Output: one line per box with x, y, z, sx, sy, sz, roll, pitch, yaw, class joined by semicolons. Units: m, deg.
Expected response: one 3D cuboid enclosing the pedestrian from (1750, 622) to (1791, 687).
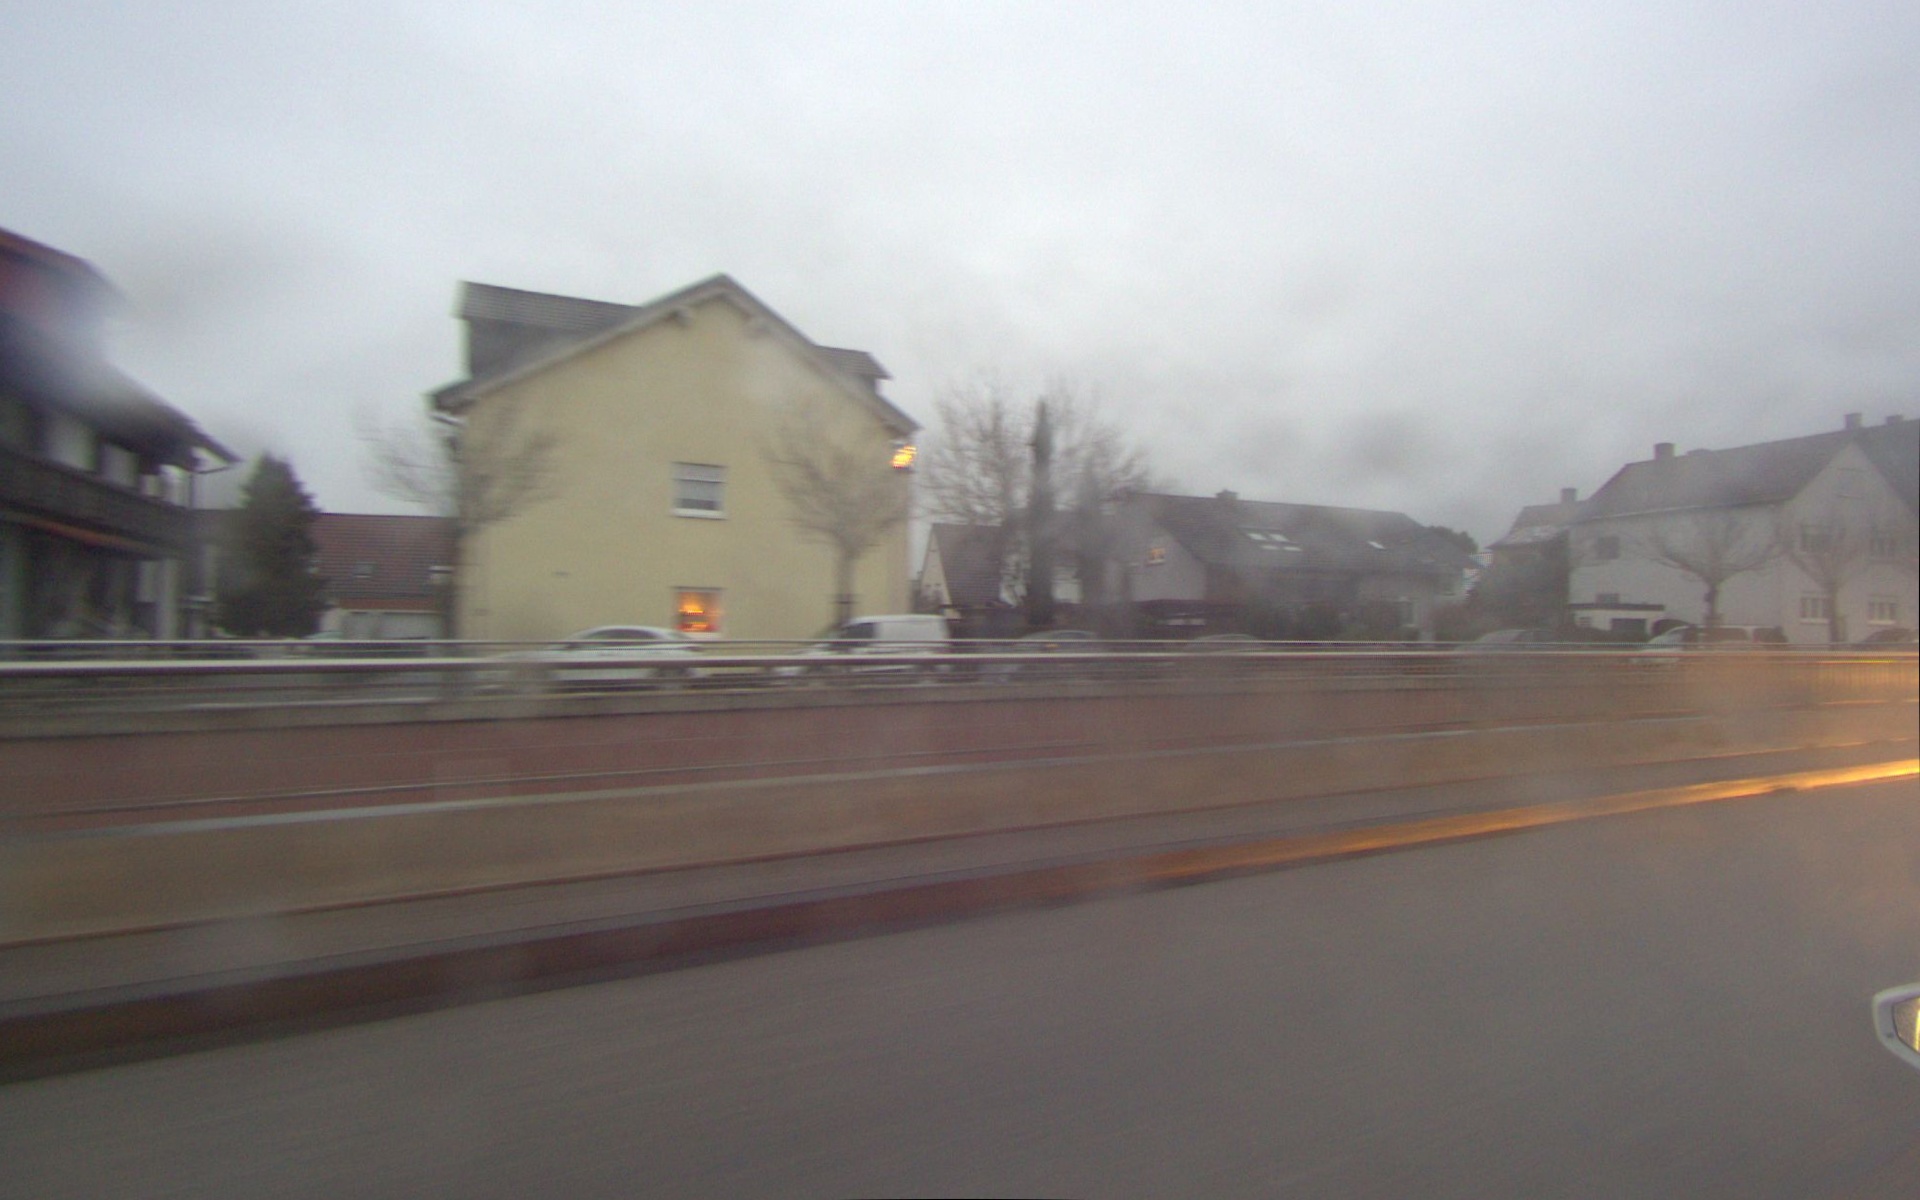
21.762;1.450;26.977;0.533;1.720;0.662;1;0;-19;pedestrian

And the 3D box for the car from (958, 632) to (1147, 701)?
2.352;1.635;25.364;4.442;1.593;1.868;0;-3;-26;car

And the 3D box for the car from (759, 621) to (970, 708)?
-2.155;1.419;22.937;4.445;1.802;1.867;0;-3;-28;car

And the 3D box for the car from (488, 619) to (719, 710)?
-7.201;1.247;20.332;4.172;1.619;1.867;0;-3;-28;car

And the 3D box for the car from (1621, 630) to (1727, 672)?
25.228;1.793;35.500;3.409;1.446;1.480;1;-1;-22;car

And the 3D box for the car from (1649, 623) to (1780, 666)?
31.477;1.862;42.009;1.838;1.716;3.979;0;-3;-23;car

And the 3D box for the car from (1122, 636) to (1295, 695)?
6.808;1.758;27.449;4.442;1.452;1.868;0;-3;-26;car

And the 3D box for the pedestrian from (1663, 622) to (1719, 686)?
21.140;1.539;29.071;0.958;1.808;0.927;1;0;-20;pedestrian
